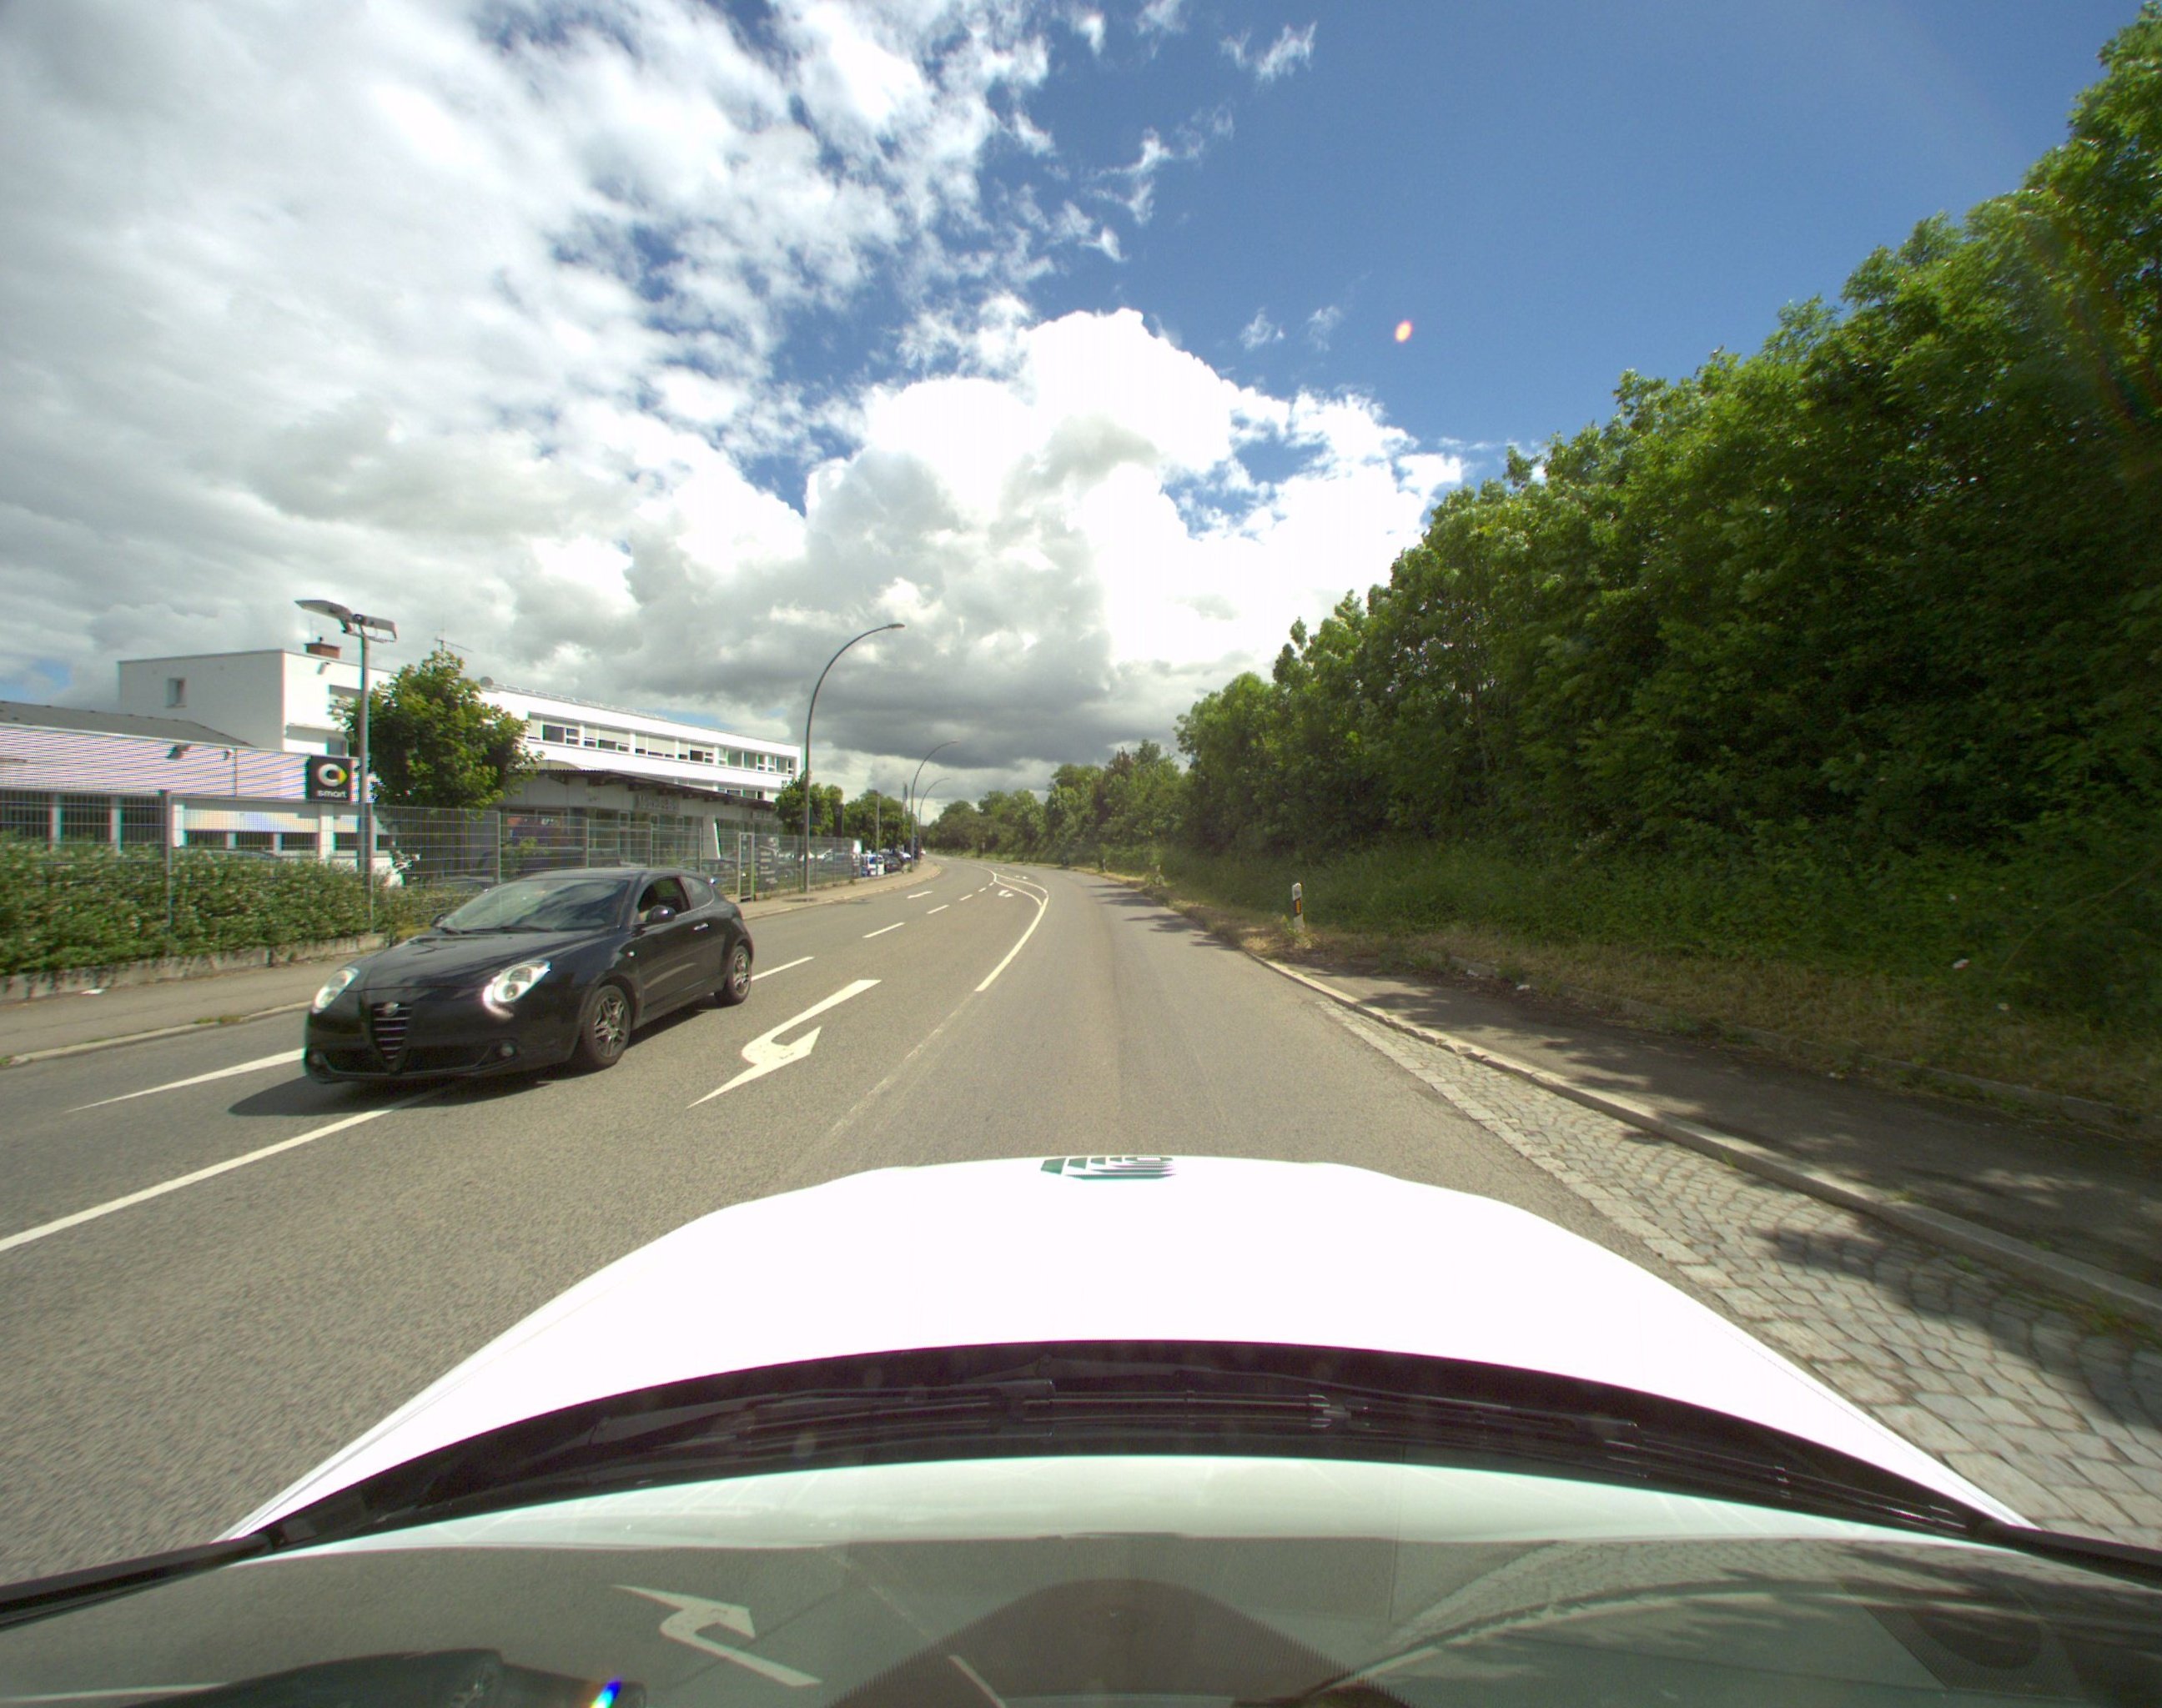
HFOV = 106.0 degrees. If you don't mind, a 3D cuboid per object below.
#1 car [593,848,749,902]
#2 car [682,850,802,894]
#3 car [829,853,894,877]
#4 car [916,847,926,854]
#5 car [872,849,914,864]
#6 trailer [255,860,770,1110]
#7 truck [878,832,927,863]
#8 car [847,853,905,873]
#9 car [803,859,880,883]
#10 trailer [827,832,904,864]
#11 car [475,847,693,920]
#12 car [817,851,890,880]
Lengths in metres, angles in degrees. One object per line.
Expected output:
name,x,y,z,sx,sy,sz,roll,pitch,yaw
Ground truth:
car,-13.895,0.694,27.804,4.178,1.700,2.173,1,0,-1
car,-13.647,0.702,32.942,4.065,1.665,1.797,1,0,2
car,-15.895,0.779,58.919,4.154,1.601,1.992,1,0,24
car,-36.215,-0.882,184.302,1.996,1.537,3.981,1,0,-14
car,-21.938,0.305,95.236,4.337,1.763,1.976,1,0,-42
trailer,-4.182,0.797,6.918,1.643,1.423,3.997,-1,0,-2
truck,-24.781,-0.949,113.007,6.149,4.093,2.802,-1,1,-25
car,-16.142,0.697,64.069,4.154,1.479,1.806,1,0,24
car,-14.476,0.994,49.224,4.154,1.350,1.948,1,0,24
trailer,-29.251,-0.882,110.783,9.774,4.093,2.801,-1,1,-27
car,-12.579,0.710,20.830,4.175,1.700,2.174,1,0,1
car,-14.430,0.703,51.761,3.939,1.700,2.186,1,0,24
